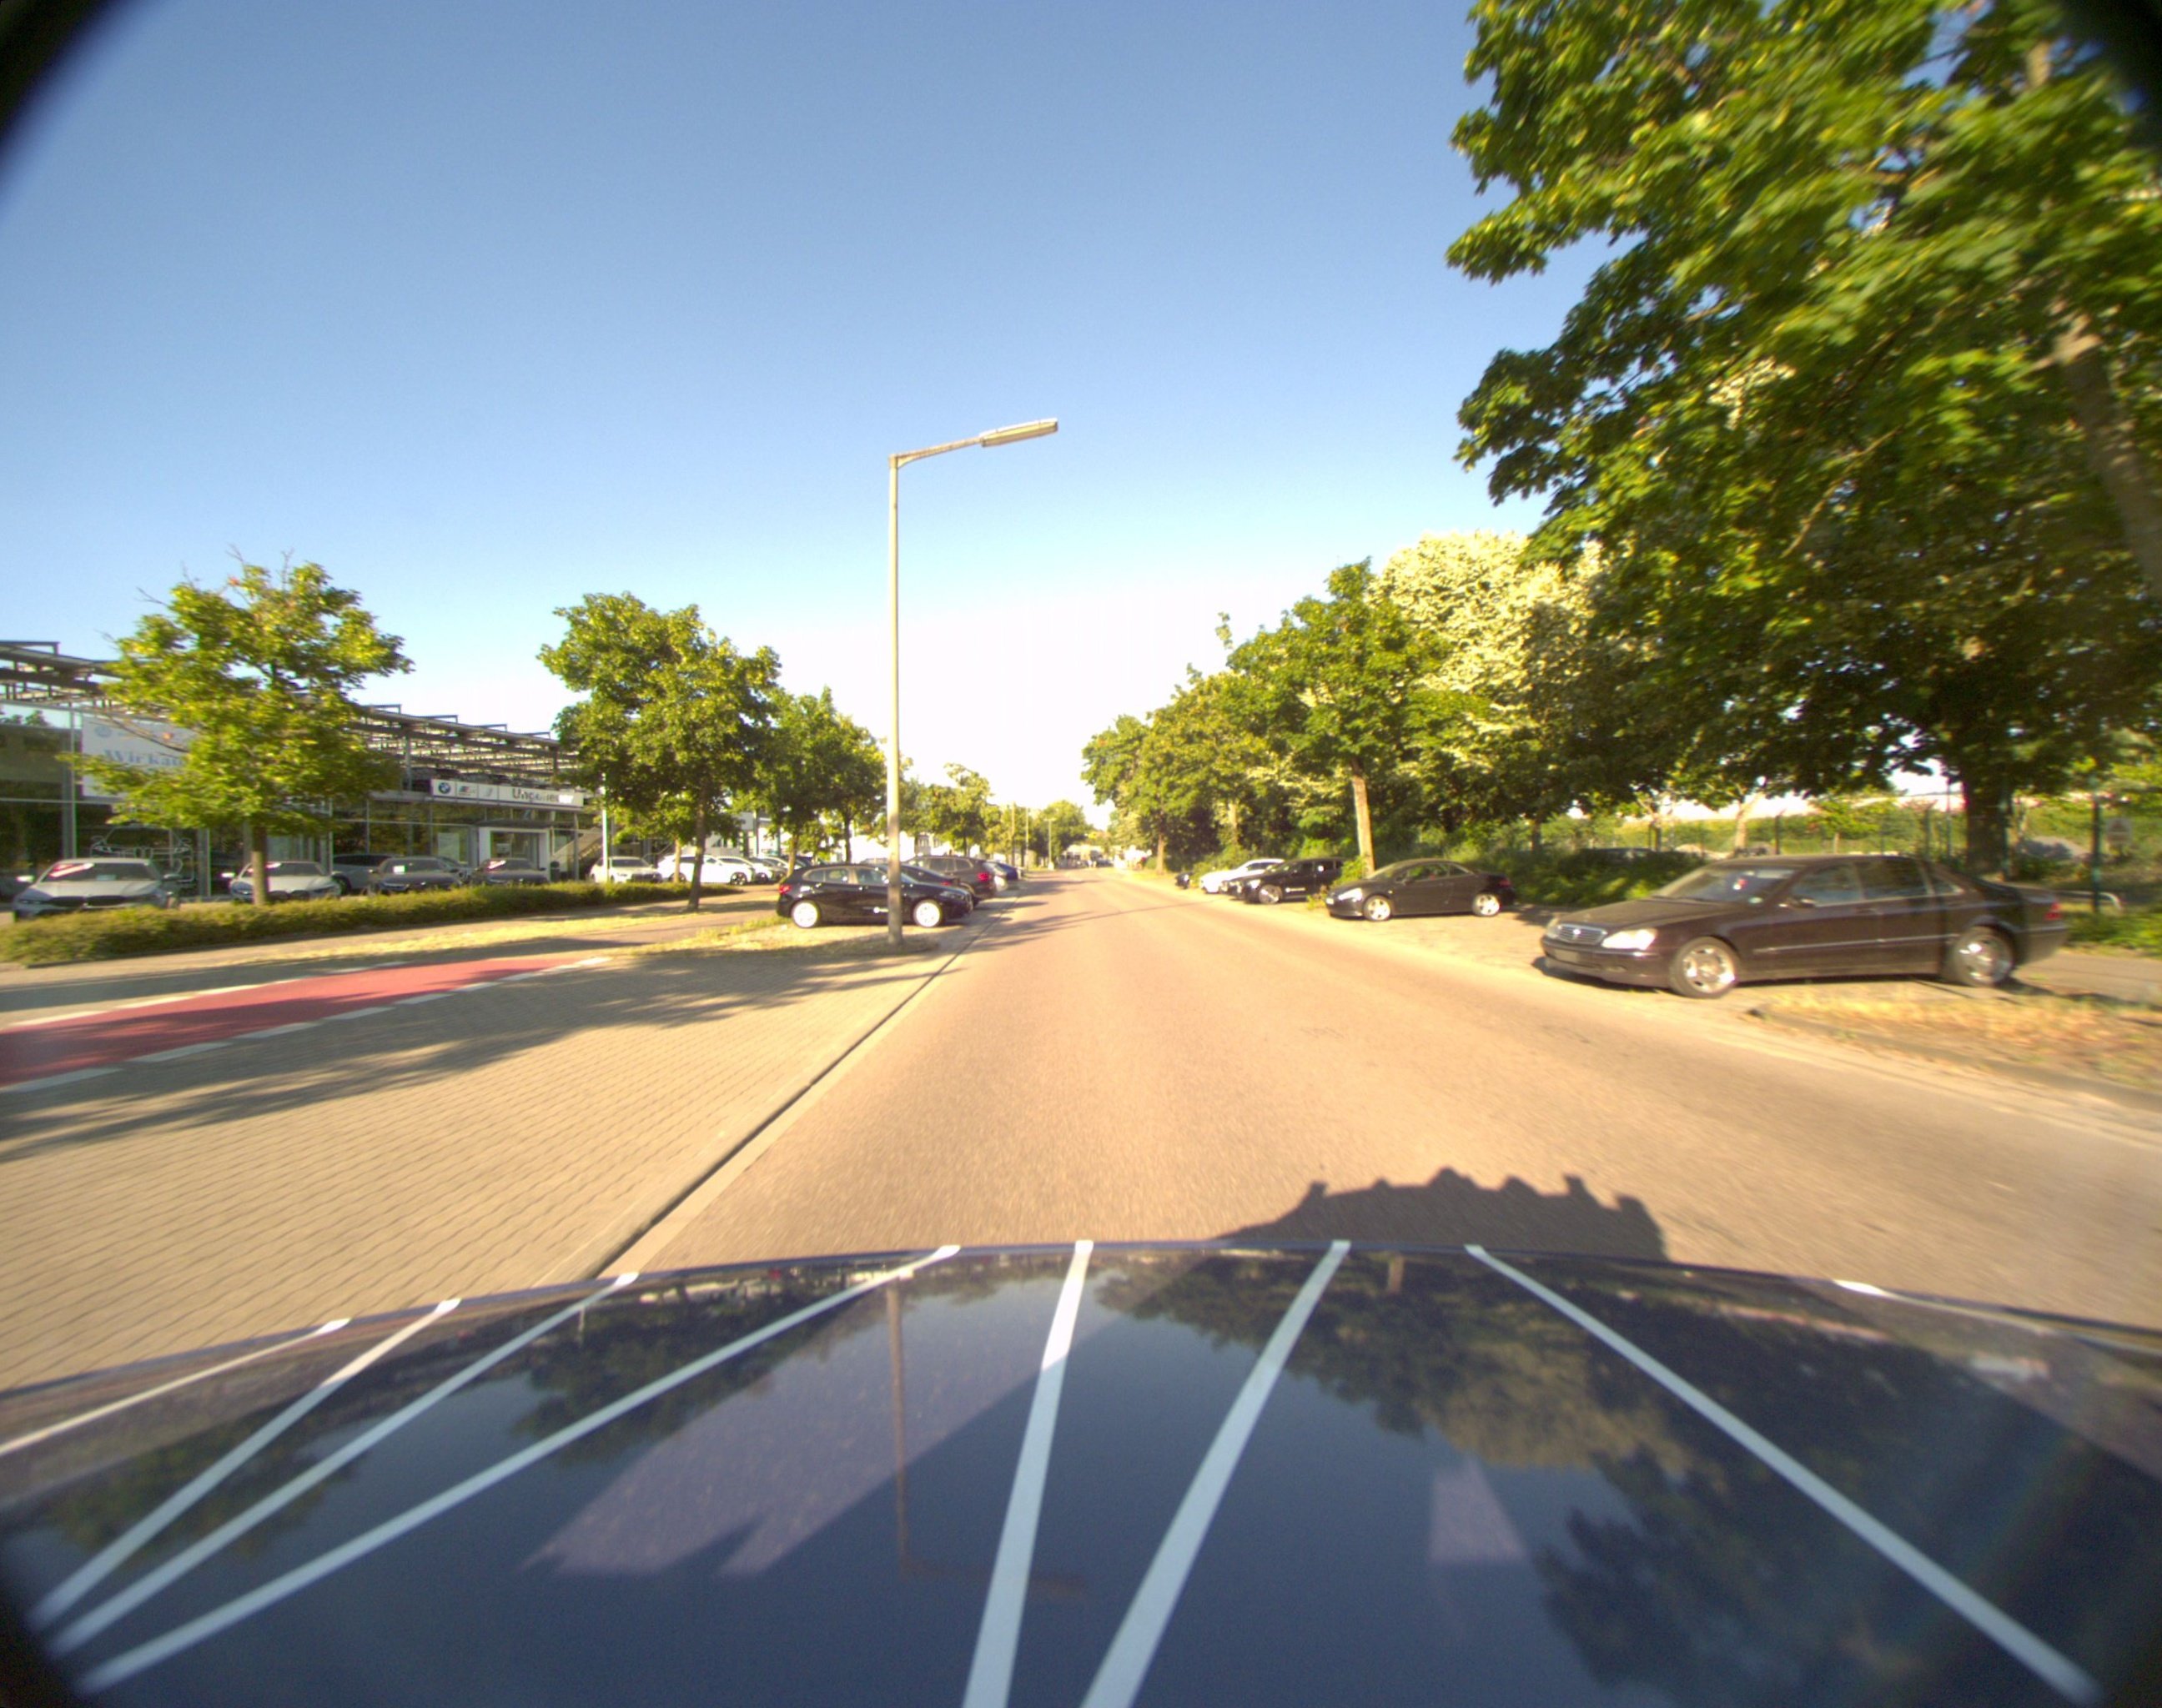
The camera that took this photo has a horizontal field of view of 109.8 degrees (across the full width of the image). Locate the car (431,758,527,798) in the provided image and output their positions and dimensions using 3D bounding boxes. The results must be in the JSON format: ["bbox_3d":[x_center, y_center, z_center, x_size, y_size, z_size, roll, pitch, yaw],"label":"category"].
[{"bbox_3d":[-32.062,-4.005,40.527,3.994,1.656,1.789,-3,0,11],"label":"car"}]

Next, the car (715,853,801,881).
[{"bbox_3d":[-19.543,0.788,45.958,4.612,1.565,1.995,1,0,-29],"label":"car"}]

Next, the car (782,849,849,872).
[{"bbox_3d":[-20.455,0.493,58.500,4.612,1.657,1.995,1,0,-28],"label":"car"}]

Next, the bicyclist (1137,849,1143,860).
[{"bbox_3d":[8.055,0.092,103.732,0.733,1.521,0.951,0,0,-2],"label":"bicyclist"}]

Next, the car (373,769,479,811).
[{"bbox_3d":[-32.155,-3.112,37.357,3.994,1.656,1.789,-3,0,11],"label":"car"}]

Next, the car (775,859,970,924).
[{"bbox_3d":[-5.290,0.919,19.770,4.493,1.541,2.033,-1,0,-1],"label":"car"}]

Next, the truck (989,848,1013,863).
[{"bbox_3d":[-14.863,0.355,142.308,2.542,2.704,5.979,0,0,14],"label":"truck"}]

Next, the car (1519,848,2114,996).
[{"bbox_3d":[8.119,0.686,8.752,5.048,1.453,1.999,-1,0,-2],"label":"car"}]

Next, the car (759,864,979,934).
[{"bbox_3d":[-4.705,0.985,17.435,4.493,1.396,2.033,-1,1,-2],"label":"car"}]

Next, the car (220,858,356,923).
[{"bbox_3d":[-20.410,0.834,19.500,4.775,1.455,2.004,0,0,39],"label":"car"}]

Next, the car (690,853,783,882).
[{"bbox_3d":[-19.431,0.750,42.841,4.612,1.565,1.995,1,0,-29],"label":"car"}]

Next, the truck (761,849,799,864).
[{"bbox_3d":[-58.182,0.402,146.990,1.994,2.889,7.127,0,0,30],"label":"truck"}]

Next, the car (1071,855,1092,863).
[{"bbox_3d":[0.117,1.301,193.224,4.833,2.002,2.305,0,0,37],"label":"car"}]

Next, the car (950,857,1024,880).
[{"bbox_3d":[-6.054,0.936,49.534,4.637,1.448,1.999,1,0,-3],"label":"car"}]

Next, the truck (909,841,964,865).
[{"bbox_3d":[-21.457,-0.115,112.857,8.230,3.501,3.122,0,0,34],"label":"truck"}]

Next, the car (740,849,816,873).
[{"bbox_3d":[-20.744,0.502,51.976,4.612,1.565,1.995,1,0,-29],"label":"car"}]

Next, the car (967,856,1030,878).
[{"bbox_3d":[-6.128,0.964,56.788,4.604,1.575,1.999,1,0,-5],"label":"car"}]

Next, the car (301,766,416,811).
[{"bbox_3d":[-33.164,-2.970,34.916,3.994,1.656,1.789,-3,0,11],"label":"car"}]

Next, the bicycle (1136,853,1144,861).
[{"bbox_3d":[8.017,0.451,103.370,0.768,1.033,2.217,-1,0,-2],"label":"bicycle"}]

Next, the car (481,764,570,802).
[{"bbox_3d":[-31.495,-4.000,43.104,3.994,1.656,1.789,-3,0,11],"label":"car"}]

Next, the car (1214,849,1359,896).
[{"bbox_3d":[7.687,0.669,28.697,4.864,1.522,1.999,-2,0,-6],"label":"car"}]

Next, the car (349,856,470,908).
[{"bbox_3d":[-20.680,0.782,23.340,4.775,1.455,2.004,0,0,39],"label":"car"}]

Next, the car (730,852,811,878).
[{"bbox_3d":[-19.937,0.719,48.859,4.612,1.565,1.995,1,0,-29],"label":"car"}]

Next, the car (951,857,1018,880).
[{"bbox_3d":[-6.606,0.980,52.280,4.388,1.471,1.999,1,0,-3],"label":"car"}]

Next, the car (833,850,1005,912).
[{"bbox_3d":[-4.831,0.791,23.190,4.706,1.741,2.192,-1,0,2],"label":"car"}]

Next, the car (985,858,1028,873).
[{"bbox_3d":[-7.501,1.112,76.949,4.210,1.435,2.087,1,0,-4],"label":"car"}]

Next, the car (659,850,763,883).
[{"bbox_3d":[-19.433,0.646,39.933,4.737,1.680,2.405,1,0,-29],"label":"car"}]

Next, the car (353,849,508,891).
[{"bbox_3d":[-28.767,0.682,33.798,4.793,1.763,1.997,0,0,-18],"label":"car"}]

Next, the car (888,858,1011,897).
[{"bbox_3d":[-5.283,0.939,31.066,4.708,1.471,1.999,1,0,-3],"label":"car"}]

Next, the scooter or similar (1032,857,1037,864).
[{"bbox_3d":[-8.152,1.162,133.623,0.547,1.189,1.483,0,0,12],"label":"scooter or similar"}]

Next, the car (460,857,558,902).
[{"bbox_3d":[-20.580,0.839,27.269,4.775,1.455,2.004,0,0,43],"label":"car"}]

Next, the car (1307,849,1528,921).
[{"bbox_3d":[8.096,0.713,18.591,4.492,1.453,1.999,-2,0,-2],"label":"car"}]

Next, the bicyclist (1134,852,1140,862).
[{"bbox_3d":[8.194,0.400,111.344,0.733,1.521,0.951,0,0,-2],"label":"bicyclist"}]

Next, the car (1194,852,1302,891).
[{"bbox_3d":[7.366,0.756,33.837,4.298,1.522,2.000,-2,0,-1],"label":"car"}]

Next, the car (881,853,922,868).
[{"bbox_3d":[-19.911,0.735,84.235,3.992,1.569,2.002,0,0,17],"label":"car"}]

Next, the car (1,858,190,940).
[{"bbox_3d":[-20.298,0.812,15.881,4.775,1.455,2.051,0,0,42],"label":"car"}]

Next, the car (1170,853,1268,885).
[{"bbox_3d":[7.117,0.769,39.532,4.662,1.413,1.916,-2,0,-4],"label":"car"}]

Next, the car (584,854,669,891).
[{"bbox_3d":[-20.815,0.781,34.687,5.176,1.562,2.004,0,0,43],"label":"car"}]

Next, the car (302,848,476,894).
[{"bbox_3d":[-27.912,0.655,30.853,4.793,1.763,1.997,0,0,-18],"label":"car"}]

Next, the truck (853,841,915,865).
[{"bbox_3d":[-30.562,-0.159,117.591,10.091,3.623,3.302,0,0,33],"label":"truck"}]

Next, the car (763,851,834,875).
[{"bbox_3d":[-20.489,0.650,55.145,4.612,1.657,1.995,1,0,-29],"label":"car"}]

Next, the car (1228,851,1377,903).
[{"bbox_3d":[7.547,0.758,26.186,4.492,1.522,1.999,-2,0,-2],"label":"car"}]

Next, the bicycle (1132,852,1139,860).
[{"bbox_3d":[8.101,0.295,112.567,0.768,1.033,2.216,0,0,-5],"label":"bicycle"}]

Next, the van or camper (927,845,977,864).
[{"bbox_3d":[-21.100,0.090,124.430,7.989,2.883,2.948,0,0,29],"label":"van or camper"}]

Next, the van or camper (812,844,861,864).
[{"bbox_3d":[-40.033,0.010,124.361,8.118,3.309,2.419,0,0,25],"label":"van or camper"}]
